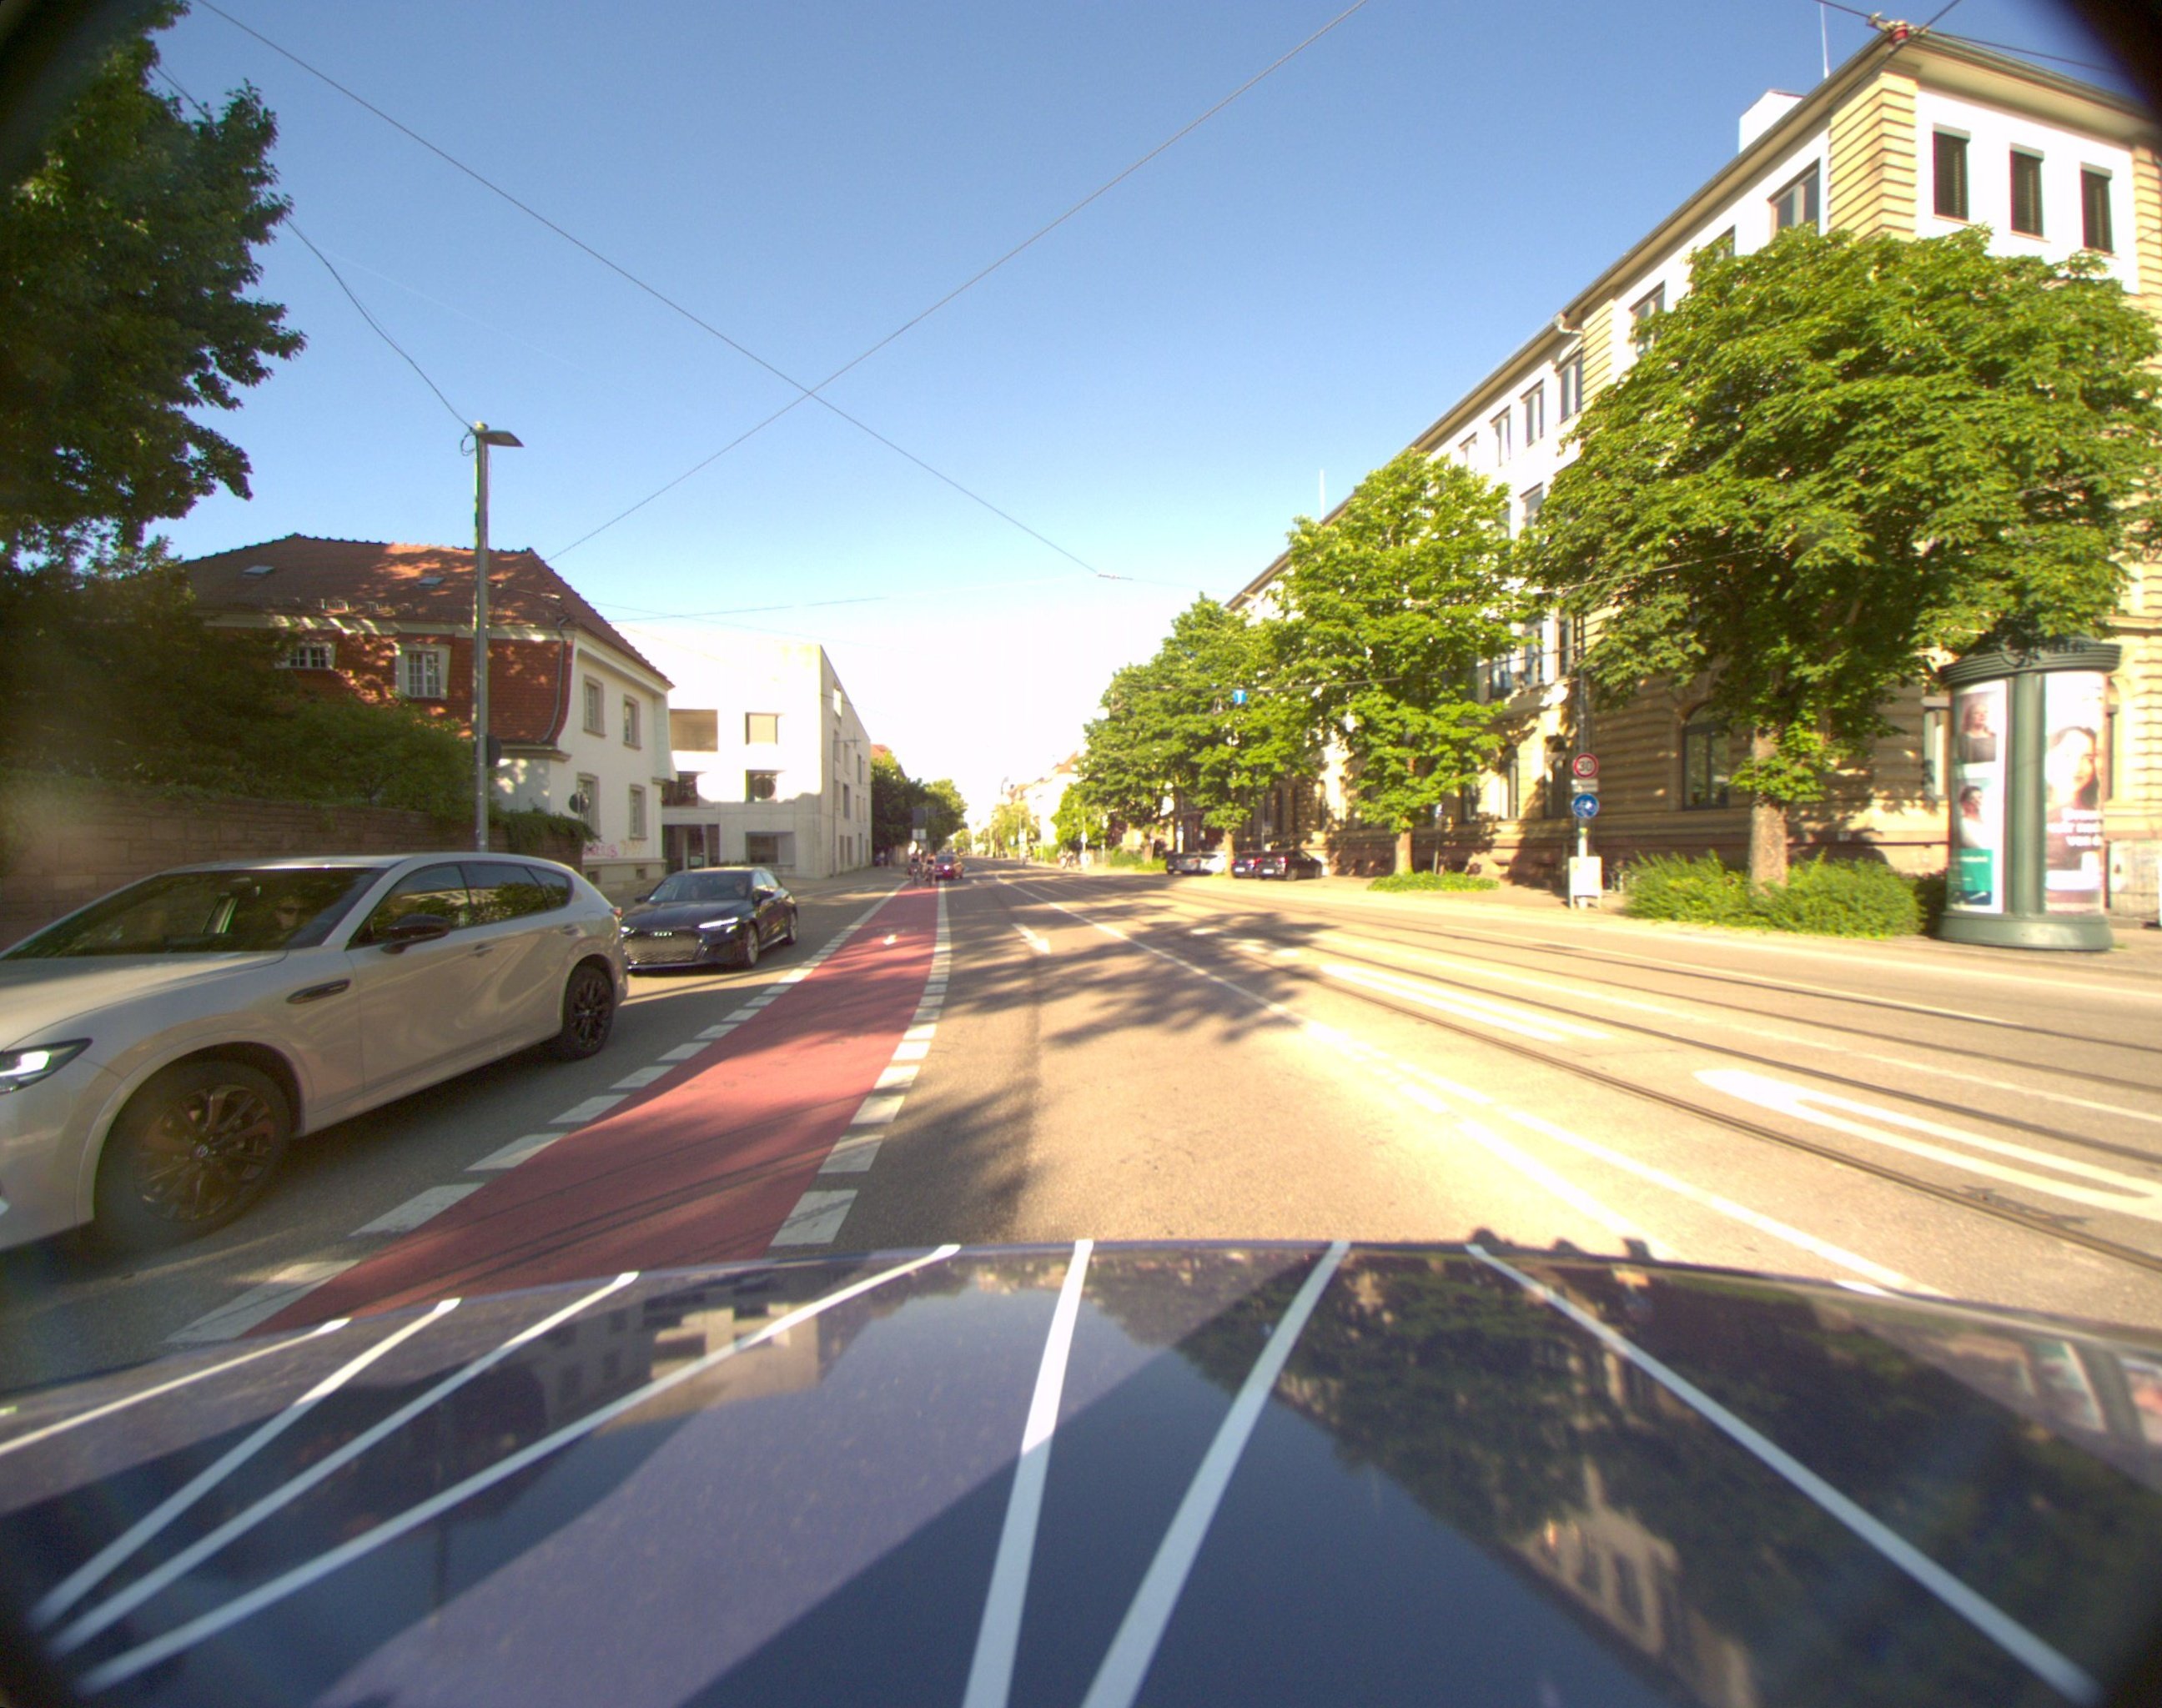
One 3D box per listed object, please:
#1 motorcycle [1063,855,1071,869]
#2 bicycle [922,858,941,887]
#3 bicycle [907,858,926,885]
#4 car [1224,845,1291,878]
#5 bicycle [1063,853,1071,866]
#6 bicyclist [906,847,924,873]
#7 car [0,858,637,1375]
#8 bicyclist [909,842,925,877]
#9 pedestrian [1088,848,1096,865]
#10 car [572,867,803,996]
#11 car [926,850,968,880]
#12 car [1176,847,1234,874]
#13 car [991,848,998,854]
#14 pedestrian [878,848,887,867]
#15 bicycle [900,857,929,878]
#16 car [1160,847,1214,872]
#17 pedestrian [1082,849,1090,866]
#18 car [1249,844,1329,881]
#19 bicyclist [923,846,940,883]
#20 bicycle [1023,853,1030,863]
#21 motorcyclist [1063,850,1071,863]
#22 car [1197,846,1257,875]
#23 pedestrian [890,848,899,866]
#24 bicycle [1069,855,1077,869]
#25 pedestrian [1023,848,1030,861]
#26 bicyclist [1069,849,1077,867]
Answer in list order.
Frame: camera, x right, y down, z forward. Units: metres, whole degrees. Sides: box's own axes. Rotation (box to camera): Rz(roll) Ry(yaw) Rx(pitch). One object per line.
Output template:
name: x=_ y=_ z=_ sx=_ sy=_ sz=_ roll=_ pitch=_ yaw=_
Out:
motorcycle: x=-1.332 y=0.759 z=71.500 sx=0.680 sy=1.285 sz=2.265 roll=-2 pitch=1 yaw=1
bicycle: x=-6.715 y=0.801 z=34.189 sx=0.676 sy=1.243 sz=2.454 roll=0 pitch=1 yaw=-8
bicycle: x=-7.797 y=0.804 z=36.109 sx=0.676 sy=1.243 sz=2.454 roll=0 pitch=1 yaw=-8
car: x=9.420 y=0.384 z=40.411 sx=3.657 sy=1.552 sz=1.645 roll=-3 pitch=1 yaw=-43
bicycle: x=-1.322 y=0.513 z=71.822 sx=0.676 sy=1.243 sz=2.455 roll=0 pitch=1 yaw=-5
bicyclist: x=-10.428 y=0.369 z=47.664 sx=0.674 sy=1.638 sz=1.030 roll=0 pitch=1 yaw=17
car: x=-4.805 y=0.934 z=4.470 sx=1.946 sy=1.682 sz=4.529 roll=-2 pitch=1 yaw=-5
bicyclist: x=-7.795 y=0.254 z=36.075 sx=0.676 sy=1.638 sz=1.028 roll=0 pitch=1 yaw=-8
pedestrian: x=1.051 y=0.213 z=74.744 sx=0.676 sy=1.638 sz=0.817 roll=-1 pitch=1 yaw=-9
car: x=-5.619 y=0.994 z=11.477 sx=1.789 sy=1.425 sz=3.997 roll=-2 pitch=1 yaw=-8
car: x=-7.644 y=0.578 z=43.587 sx=1.649 sy=1.552 sz=3.650 roll=-2 pitch=1 yaw=1
car: x=7.913 y=0.383 z=48.357 sx=3.657 sy=1.552 sz=1.645 roll=-3 pitch=1 yaw=-43
car: x=-23.613 y=-0.699 z=207.282 sx=1.650 sy=1.552 sz=3.646 roll=-2 pitch=1 yaw=-12
pedestrian: x=-17.470 y=0.297 z=66.951 sx=0.676 sy=1.638 sz=0.817 roll=-1 pitch=1 yaw=-9
bicycle: x=-10.420 y=0.813 z=47.690 sx=0.675 sy=1.243 sz=2.460 roll=0 pitch=1 yaw=17
car: x=7.237 y=0.354 z=51.768 sx=3.657 sy=1.552 sz=1.645 roll=-3 pitch=1 yaw=-43
pedestrian: x=0.497 y=0.351 z=74.455 sx=0.676 sy=1.638 sz=0.817 roll=-1 pitch=1 yaw=-9
car: x=10.384 y=0.400 z=37.750 sx=4.189 sy=1.621 sz=1.841 roll=-3 pitch=1 yaw=-43
bicyclist: x=-6.720 y=0.440 z=34.203 sx=0.676 sy=1.638 sz=1.028 roll=0 pitch=1 yaw=-8
bicycle: x=-6.819 y=0.477 z=95.118 sx=0.676 sy=1.243 sz=2.456 roll=-1 pitch=1 yaw=0
motorcyclist: x=-1.322 y=0.218 z=71.858 sx=0.676 sy=1.243 sz=0.853 roll=0 pitch=1 yaw=-5
car: x=8.891 y=0.382 z=46.126 sx=3.657 sy=1.552 sz=1.645 roll=-3 pitch=1 yaw=-43
pedestrian: x=-16.451 y=0.257 z=67.022 sx=0.676 sy=1.638 sz=0.817 roll=-1 pitch=1 yaw=-9
bicycle: x=-0.722 y=0.716 z=69.199 sx=0.676 sy=1.243 sz=2.456 roll=0 pitch=1 yaw=1
pedestrian: x=-6.827 y=0.087 z=95.095 sx=0.675 sy=1.638 sz=0.817 roll=-1 pitch=1 yaw=0
bicyclist: x=-0.724 y=0.374 z=69.199 sx=0.675 sy=1.638 sz=1.029 roll=0 pitch=1 yaw=0
